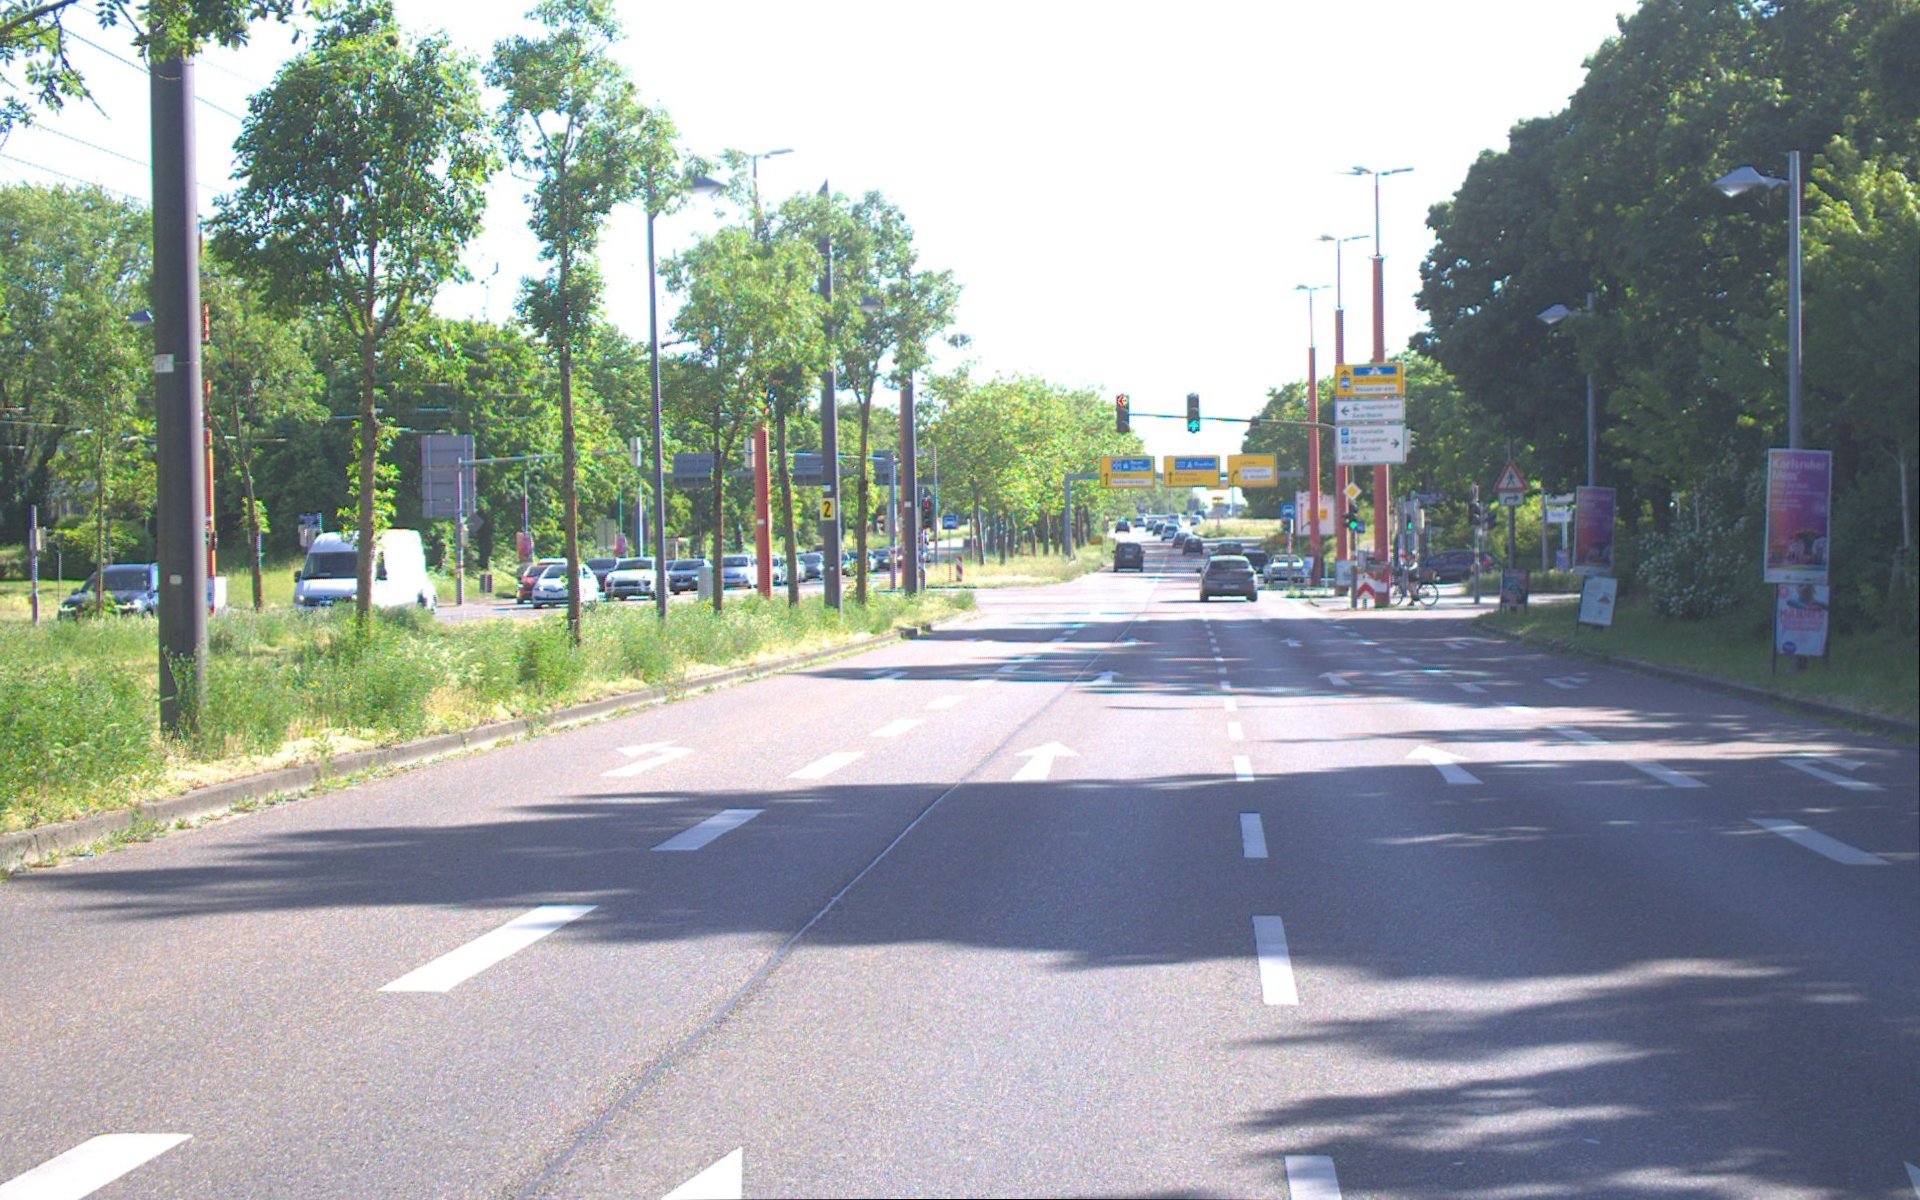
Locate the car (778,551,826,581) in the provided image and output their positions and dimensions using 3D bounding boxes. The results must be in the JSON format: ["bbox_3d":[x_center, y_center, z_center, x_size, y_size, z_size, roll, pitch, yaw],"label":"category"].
[{"bbox_3d":[-8.593,-1.883,187.076,1.994,1.589,4.463,-1,1,5],"label":"car"}]

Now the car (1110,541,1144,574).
[{"bbox_3d":[10.307,-2.605,212.383,1.993,2.007,4.000,1,1,1],"label":"car"}]

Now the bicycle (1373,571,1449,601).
[{"bbox_3d":[13.463,-0.414,102.657,2.161,0.875,0.560,1,0,-7],"label":"bicycle"}]

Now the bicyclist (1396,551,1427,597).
[{"bbox_3d":[13.472,-0.779,102.643,0.739,1.337,0.708,1,0,-8],"label":"bicyclist"}]

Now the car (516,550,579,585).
[{"bbox_3d":[-15.634,-1.228,130.524,1.657,1.293,4.177,1,1,3],"label":"car"}]

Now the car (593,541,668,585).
[{"bbox_3d":[-12.531,-1.408,130.926,1.895,1.616,4.656,1,1,7],"label":"car"}]

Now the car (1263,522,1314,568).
[{"bbox_3d":[13.699,-2.283,143.641,1.994,1.881,4.000,-1,1,4],"label":"car"}]

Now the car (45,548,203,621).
[{"bbox_3d":[-19.010,-0.368,78.409,1.994,1.579,5.272,1,1,4],"label":"car"}]

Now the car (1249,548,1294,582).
[{"bbox_3d":[14.611,-1.632,161.329,1.994,1.535,3.999,1,1,4],"label":"car"}]

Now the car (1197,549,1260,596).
[{"bbox_3d":[8.687,-0.892,111.450,1.994,1.491,4.000,0,1,4],"label":"car"}]

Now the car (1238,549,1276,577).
[{"bbox_3d":[16.626,-2.088,192.543,1.994,1.535,4.000,0,1,4],"label":"car"}]

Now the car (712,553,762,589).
[{"bbox_3d":[-10.294,-1.336,158.768,1.763,1.603,3.757,-1,0,4],"label":"car"}]

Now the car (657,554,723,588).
[{"bbox_3d":[-11.466,-1.229,146.399,1.994,1.404,4.989,1,1,5],"label":"car"}]

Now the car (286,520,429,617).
[{"bbox_3d":[-15.424,-0.816,88.408,2.040,2.361,6.880,1,1,4],"label":"car"}]

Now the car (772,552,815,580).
[{"bbox_3d":[-8.645,-1.767,178.435,1.704,1.418,4.643,-1,0,3],"label":"car"}]

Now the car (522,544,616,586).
[{"bbox_3d":[-13.432,-1.193,118.284,1.900,1.393,4.541,1,1,11],"label":"car"}]
